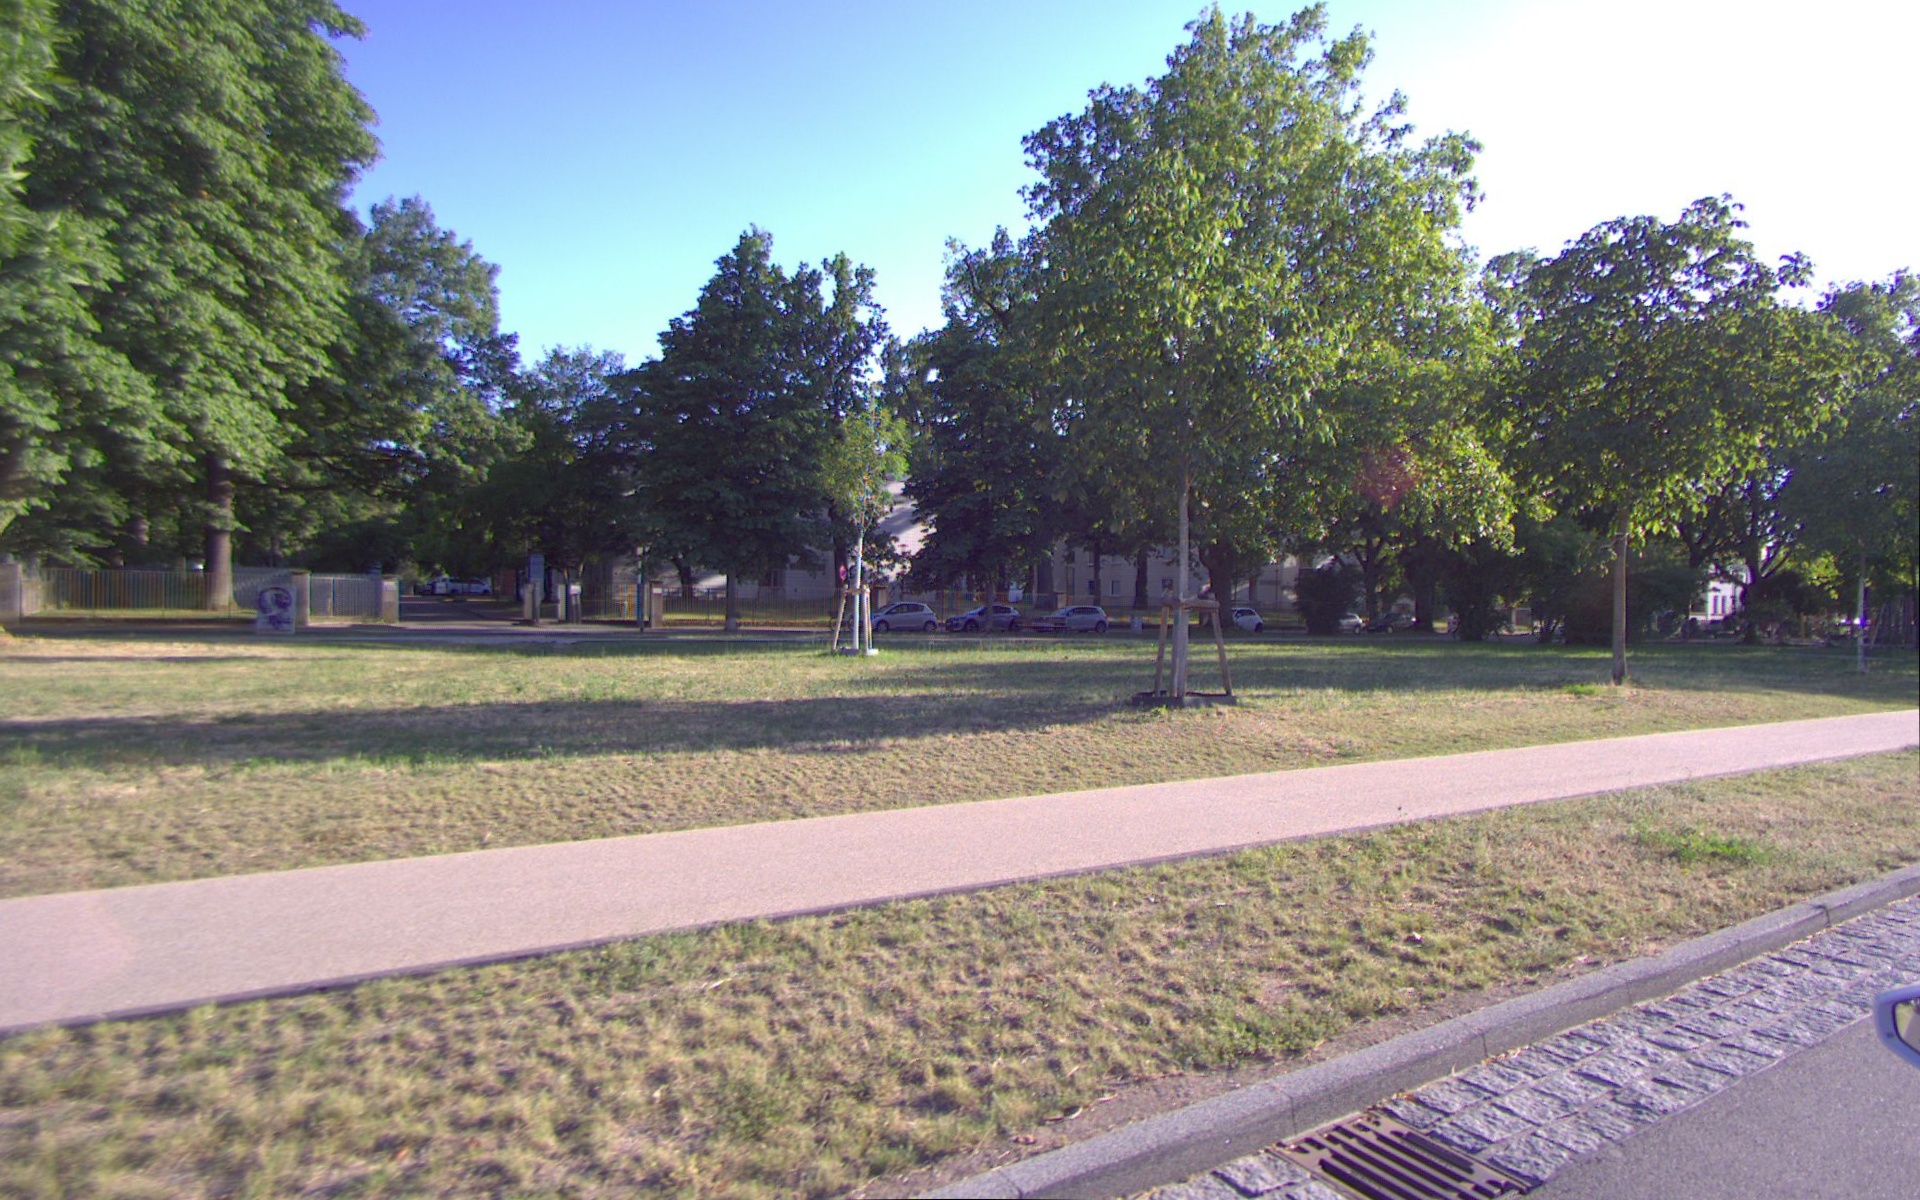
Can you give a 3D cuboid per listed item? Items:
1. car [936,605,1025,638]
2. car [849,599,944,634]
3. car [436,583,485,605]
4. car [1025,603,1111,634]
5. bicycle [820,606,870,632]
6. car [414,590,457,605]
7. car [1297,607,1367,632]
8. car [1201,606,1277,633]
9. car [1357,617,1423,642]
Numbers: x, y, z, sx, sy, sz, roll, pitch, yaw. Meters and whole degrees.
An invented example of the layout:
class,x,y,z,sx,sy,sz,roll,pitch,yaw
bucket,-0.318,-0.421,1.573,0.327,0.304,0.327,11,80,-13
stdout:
class,x,y,z,sx,sy,sz,roll,pitch,yaw
car,1.011,1.077,49.295,3.953,1.528,1.984,2,-1,-30
car,-2.972,0.774,46.917,3.953,1.528,1.984,2,-1,-30
car,-50.863,-0.582,102.401,1.602,2.085,4.242,1,-1,30
car,5.601,0.952,51.950,4.067,1.528,1.984,2,-1,-30
bicycle,-5.416,0.900,47.430,2.309,1.191,0.653,2,-1,-34
car,-61.038,-0.285,117.003,1.602,1.609,4.242,1,-1,30
car,23.257,1.223,62.743,4.067,1.528,1.984,2,-1,-30
car,16.201,1.137,58.315,4.067,1.528,1.984,2,-1,-30
car,28.202,1.951,65.874,4.067,1.528,1.984,2,-1,-30
